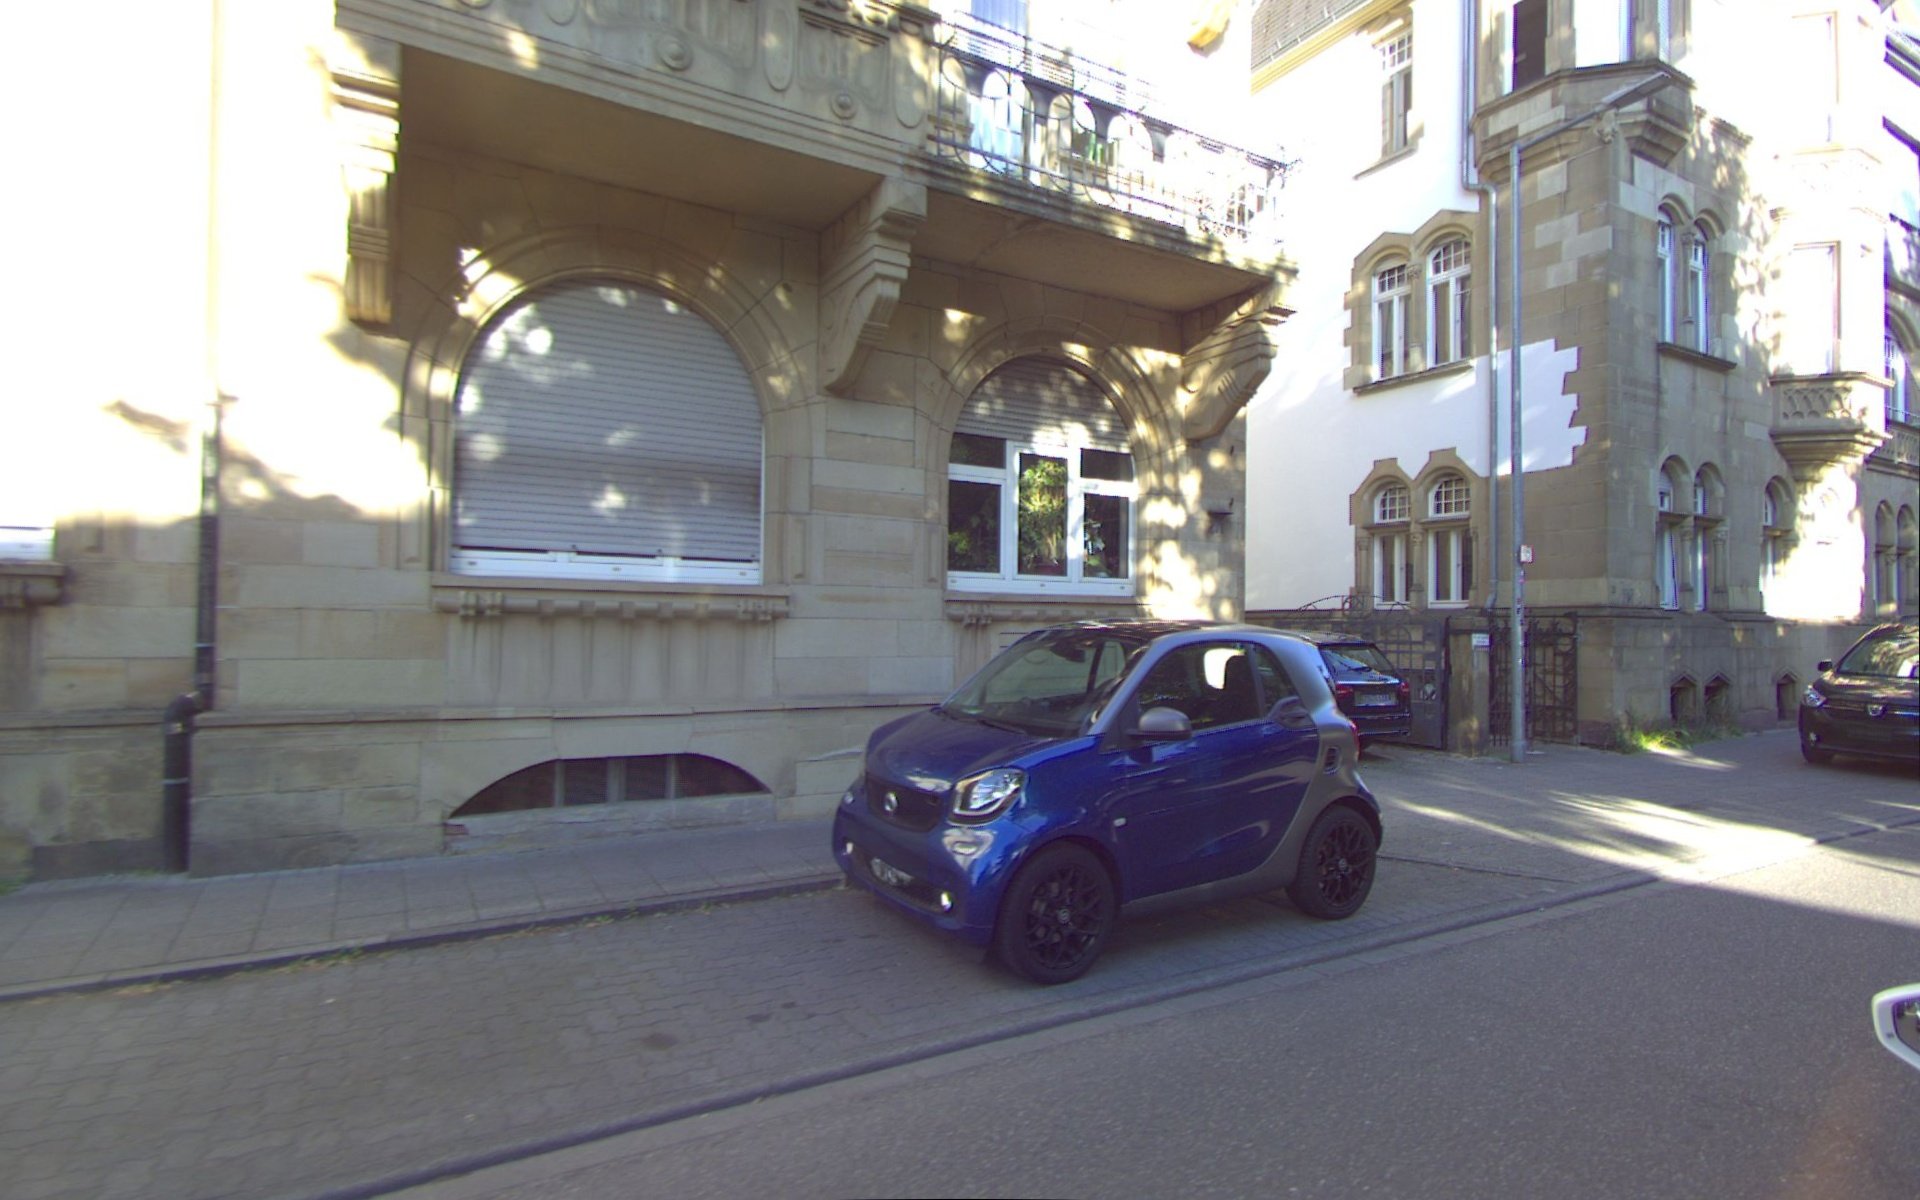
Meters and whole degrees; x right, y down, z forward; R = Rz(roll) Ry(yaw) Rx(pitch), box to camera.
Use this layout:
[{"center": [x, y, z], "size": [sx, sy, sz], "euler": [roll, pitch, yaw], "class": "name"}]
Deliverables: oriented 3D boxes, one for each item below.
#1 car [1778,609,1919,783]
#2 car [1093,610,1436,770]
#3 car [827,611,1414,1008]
[{"center": [11.792, 1.068, 12.043], "size": [4.302, 1.807, 1.633], "euler": [1, 0, -30], "class": "car"}, {"center": [3.685, 0.999, 12.906], "size": [1.699, 1.690, 4.178], "euler": [1, -1, -31], "class": "car"}, {"center": [0.865, 0.859, 5.376], "size": [2.706, 1.509, 1.587], "euler": [1, 2, -32], "class": "car"}]
